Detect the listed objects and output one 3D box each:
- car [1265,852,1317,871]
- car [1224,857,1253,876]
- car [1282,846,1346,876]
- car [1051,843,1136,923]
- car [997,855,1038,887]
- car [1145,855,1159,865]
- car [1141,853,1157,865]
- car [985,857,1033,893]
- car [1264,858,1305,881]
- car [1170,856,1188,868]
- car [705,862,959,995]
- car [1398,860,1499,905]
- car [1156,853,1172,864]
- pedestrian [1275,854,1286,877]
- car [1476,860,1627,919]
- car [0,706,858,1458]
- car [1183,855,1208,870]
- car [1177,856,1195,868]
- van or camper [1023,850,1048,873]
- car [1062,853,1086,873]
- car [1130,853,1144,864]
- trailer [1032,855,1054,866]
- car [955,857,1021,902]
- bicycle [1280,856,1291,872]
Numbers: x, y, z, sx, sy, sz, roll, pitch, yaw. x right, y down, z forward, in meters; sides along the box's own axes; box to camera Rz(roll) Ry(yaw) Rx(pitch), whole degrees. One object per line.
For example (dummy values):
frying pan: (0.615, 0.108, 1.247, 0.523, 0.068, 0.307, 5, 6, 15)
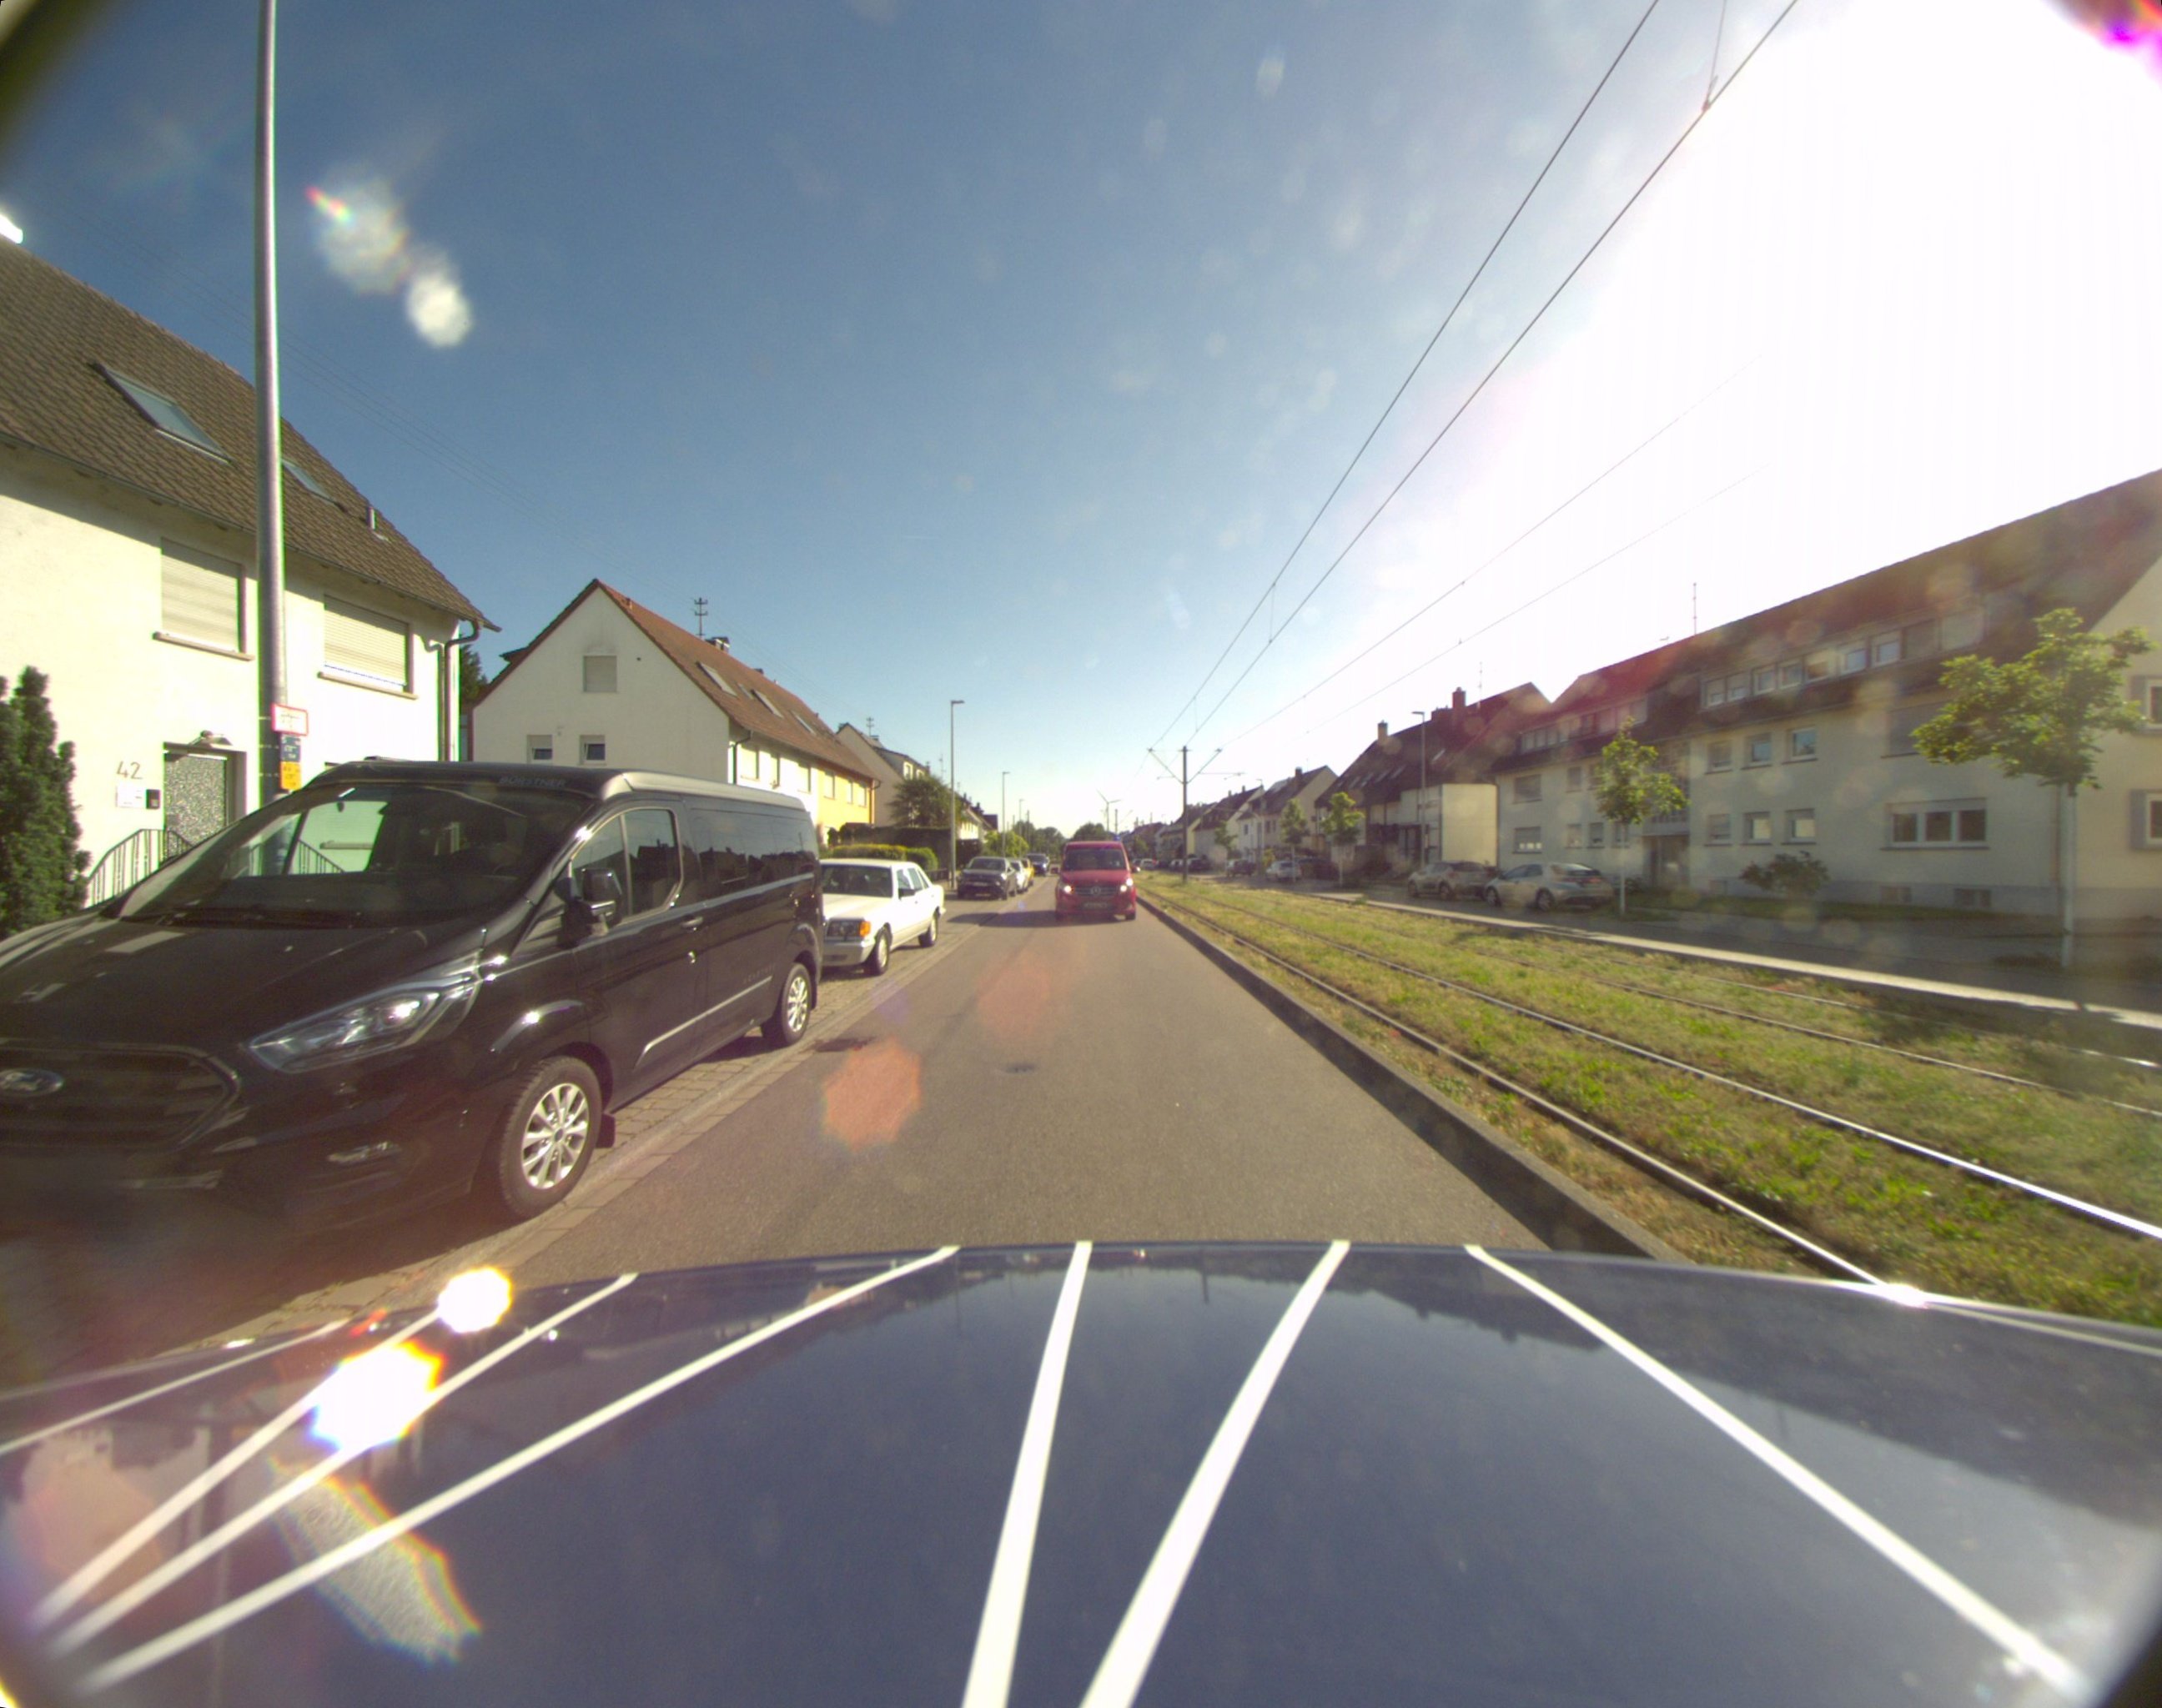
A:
car: (20.211, 0.703, 73.165, 4.404, 1.773, 1.970, 0, 0, -1)
car: (13.444, 1.069, 64.914, 1.623, 1.503, 4.085, -1, 0, 0)
car: (18.624, 0.540, 60.888, 4.472, 2.068, 1.787, -3, 1, 0)
car: (0.241, 0.675, 20.868, 1.999, 1.889, 5.389, -1, 0, -1)
car: (-3.423, 0.878, 41.563, 1.810, 1.550, 4.926, 1, 0, 0)
car: (11.561, 0.929, 123.560, 1.832, 1.522, 4.092, -2, 1, -1)
car: (8.913, 0.666, 100.135, 1.693, 1.467, 3.679, 1, 0, -1)
car: (-3.141, 0.912, 33.920, 1.752, 1.438, 4.699, 1, -1, -1)
car: (13.902, 1.034, 52.150, 1.662, 1.428, 4.102, -1, 0, -1)
car: (12.464, 1.035, 96.971, 1.658, 1.447, 4.400, -2, 0, -1)
car: (-3.344, 0.890, 11.619, 1.857, 1.435, 5.614, 2, 0, 2)
car: (13.941, 1.021, 29.099, 1.693, 1.464, 4.314, -2, 1, -1)
car: (12.189, 0.649, 111.605, 1.705, 1.389, 4.092, -2, 1, -1)
pedestrian: (15.471, 0.898, 58.906, 0.617, 1.805, 0.678, -2, 1, -9)
car: (13.968, 0.985, 22.889, 1.693, 1.467, 4.442, -2, 1, -1)
car: (-3.208, 0.632, 4.826, 1.965, 2.131, 5.335, 1, 0, 0)
car: (12.949, 0.919, 86.440, 1.926, 1.551, 4.857, -2, 1, -2)
car: (12.664, 0.998, 91.729, 1.469, 1.459, 3.998, 0, 0, -2)
van or camper: (-3.760, 0.593, 63.691, 1.954, 1.836, 5.581, 1, 0, -2)
car: (-0.653, 0.766, 67.558, 1.862, 1.592, 4.327, 2, 0, -4)
car: (8.434, 0.657, 114.832, 1.693, 1.467, 4.082, -2, 1, -1)
trailer: (-4.398, 0.744, 86.863, 2.278, 1.124, 6.434, 3, 0, -4)
car: (-3.349, 0.874, 28.228, 1.782, 1.490, 4.728, 0, 0, 1)
bicycle: (15.851, 0.774, 58.827, 0.478, 1.156, 1.872, -1, 1, 5)
